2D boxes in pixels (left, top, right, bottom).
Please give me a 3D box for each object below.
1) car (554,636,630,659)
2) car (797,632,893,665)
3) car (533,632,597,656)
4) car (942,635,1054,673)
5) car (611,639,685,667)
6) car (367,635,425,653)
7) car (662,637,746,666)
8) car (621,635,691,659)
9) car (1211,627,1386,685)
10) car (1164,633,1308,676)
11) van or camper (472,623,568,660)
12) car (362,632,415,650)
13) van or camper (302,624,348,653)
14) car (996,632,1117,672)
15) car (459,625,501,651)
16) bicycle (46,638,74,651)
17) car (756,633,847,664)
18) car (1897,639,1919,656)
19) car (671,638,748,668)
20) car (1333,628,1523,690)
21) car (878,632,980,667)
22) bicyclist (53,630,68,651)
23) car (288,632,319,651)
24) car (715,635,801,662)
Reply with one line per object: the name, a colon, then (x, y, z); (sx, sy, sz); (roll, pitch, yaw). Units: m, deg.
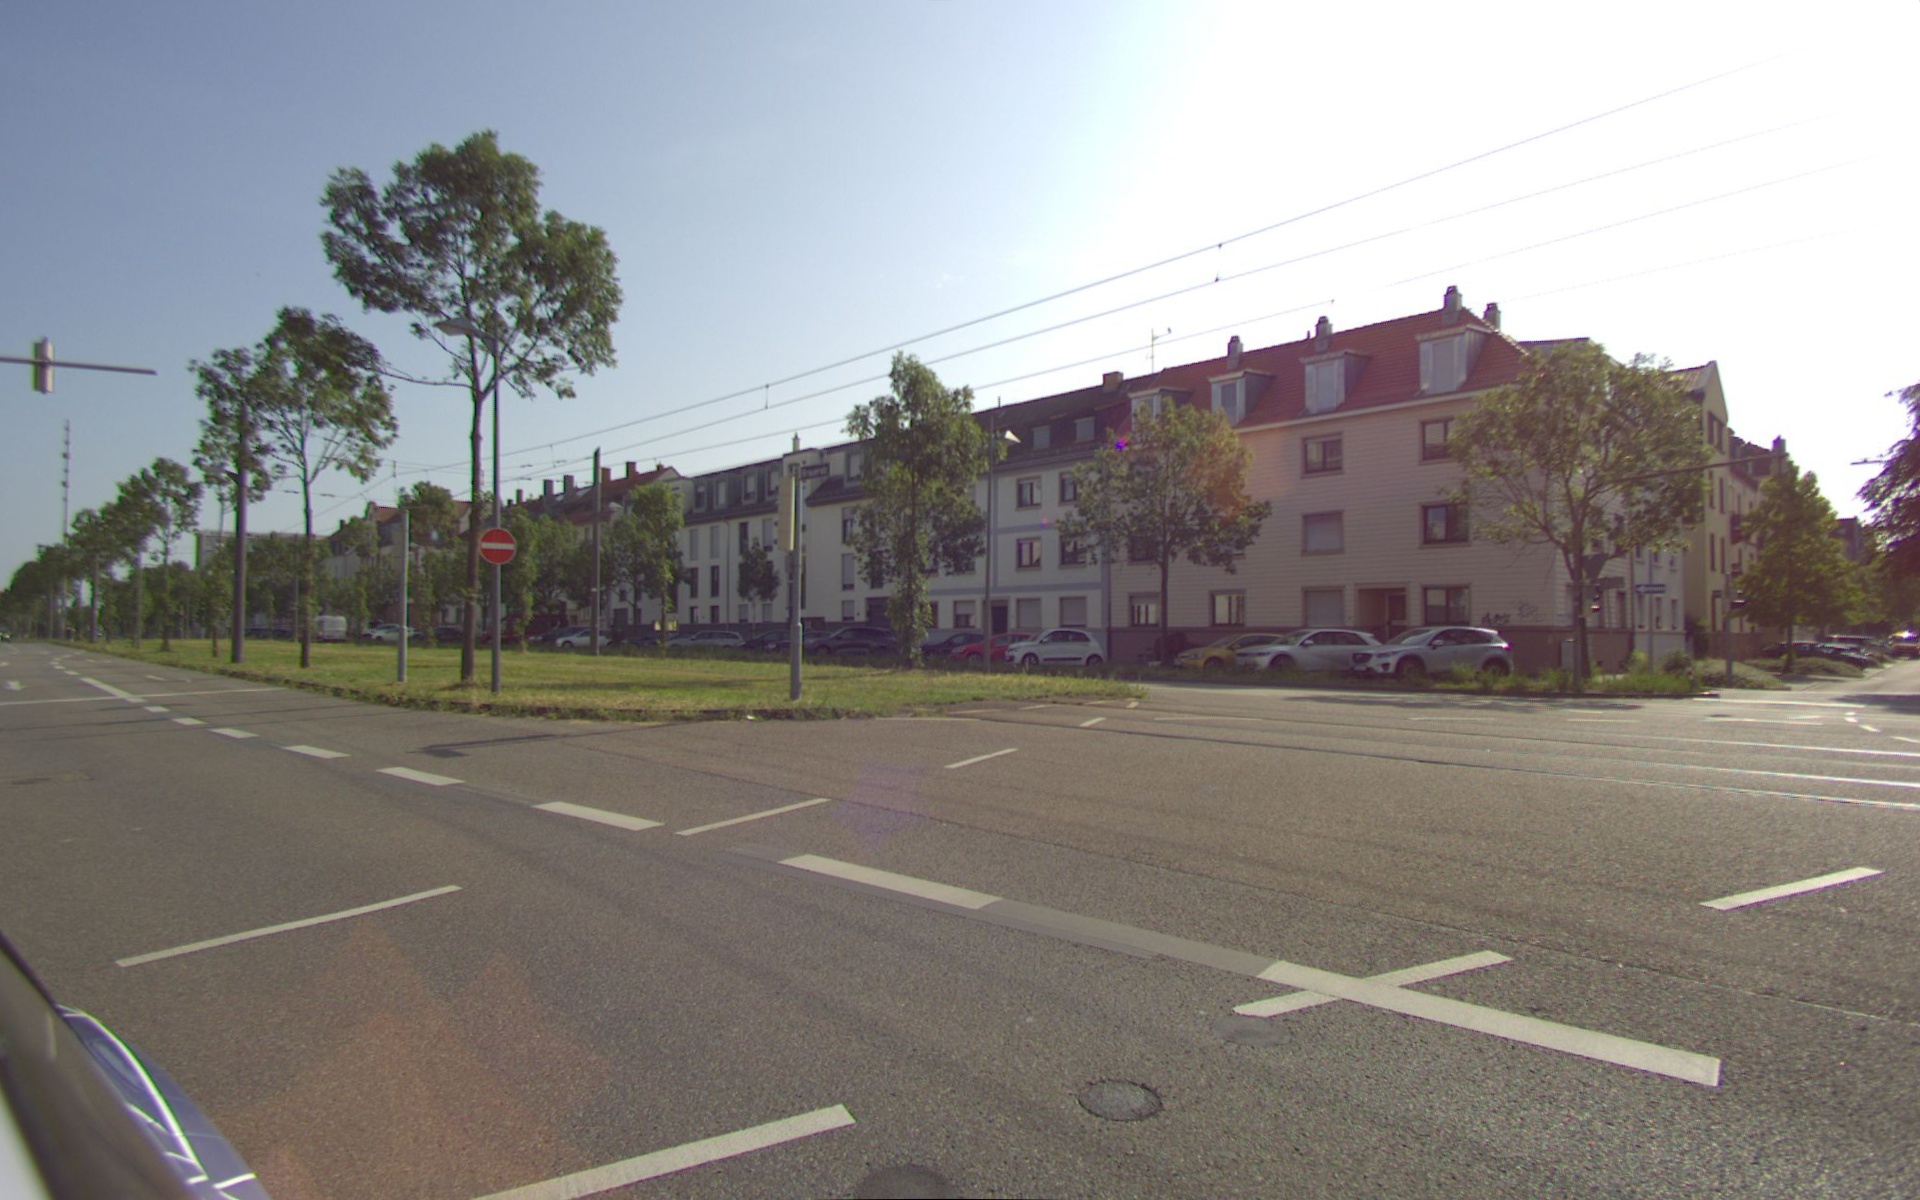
car: (-23.441, 3.014, 64.572); (4.327, 1.330, 1.738); (-1, -1, -12)
car: (-5.249, 2.191, 46.127); (3.990, 1.298, 2.006); (-1, -1, -17)
car: (-26.030, 2.889, 66.774); (3.660, 1.445, 1.646); (-1, -1, -12)
car: (1.444, 2.059, 39.029); (3.934, 1.268, 1.880); (-1, -1, -12)
car: (-17.693, 2.976, 57.504); (3.931, 1.386, 1.933); (-1, -1, -18)
car: (-52.664, 4.098, 94.541); (4.298, 1.486, 1.860); (-1, -1, -7)
car: (-14.008, 2.807, 55.355); (4.265, 1.386, 2.006); (-1, -1, -19)
car: (-18.018, 2.781, 59.992); (3.931, 1.386, 1.841); (1, -2, -18)
car: (9.886, 1.608, 29.753); (4.394, 1.526, 2.004); (-1, -1, -8)
car: (8.692, 1.697, 32.114); (3.940, 1.187, 2.002); (-1, -1, -4)
van or camper: (-32.127, 3.036, 74.051); (6.065, 2.566, 2.418); (0, -2, -7)
car: (-54.505, 3.934, 96.586); (4.035, 1.541, 1.816); (-1, -1, -7)
van or camper: (-57.748, 3.498, 91.968); (2.117, 2.493, 6.062); (4, -5, -45)
car: (3.506, 1.860, 36.874); (3.932, 1.279, 1.892); (-1, -1, -15)
car: (-46.561, 3.663, 98.067); (1.970, 2.482, 5.583); (2, -3, -43)
bicycle: (-78.684, 3.869, 88.511); (1.723, 1.154, 0.578); (2, -3, -35)
car: (-7.529, 2.273, 47.847); (3.931, 1.298, 2.006); (-1, -1, -19)
car: (86.156, 4.313, 91.526); (3.941, 1.486, 1.822); (2, -3, -45)
car: (-13.096, 2.740, 52.902); (3.715, 1.386, 1.670); (-1, -1, -19)
car: (12.643, 1.554, 27.462); (4.281, 1.474, 1.968); (-1, -1, -11)
car: (-1.290, 2.011, 41.368); (3.934, 1.244, 1.703); (-1, -1, -11)
bicyclist: (-78.686, 3.531, 88.532); (0.856, 1.836, 0.910); (2, -3, -34)
car: (-63.087, 4.003, 97.210); (1.794, 1.751, 4.165); (2, -3, -43)
car: (-10.024, 2.371, 50.079); (3.931, 1.298, 2.006); (1, -2, -19)
